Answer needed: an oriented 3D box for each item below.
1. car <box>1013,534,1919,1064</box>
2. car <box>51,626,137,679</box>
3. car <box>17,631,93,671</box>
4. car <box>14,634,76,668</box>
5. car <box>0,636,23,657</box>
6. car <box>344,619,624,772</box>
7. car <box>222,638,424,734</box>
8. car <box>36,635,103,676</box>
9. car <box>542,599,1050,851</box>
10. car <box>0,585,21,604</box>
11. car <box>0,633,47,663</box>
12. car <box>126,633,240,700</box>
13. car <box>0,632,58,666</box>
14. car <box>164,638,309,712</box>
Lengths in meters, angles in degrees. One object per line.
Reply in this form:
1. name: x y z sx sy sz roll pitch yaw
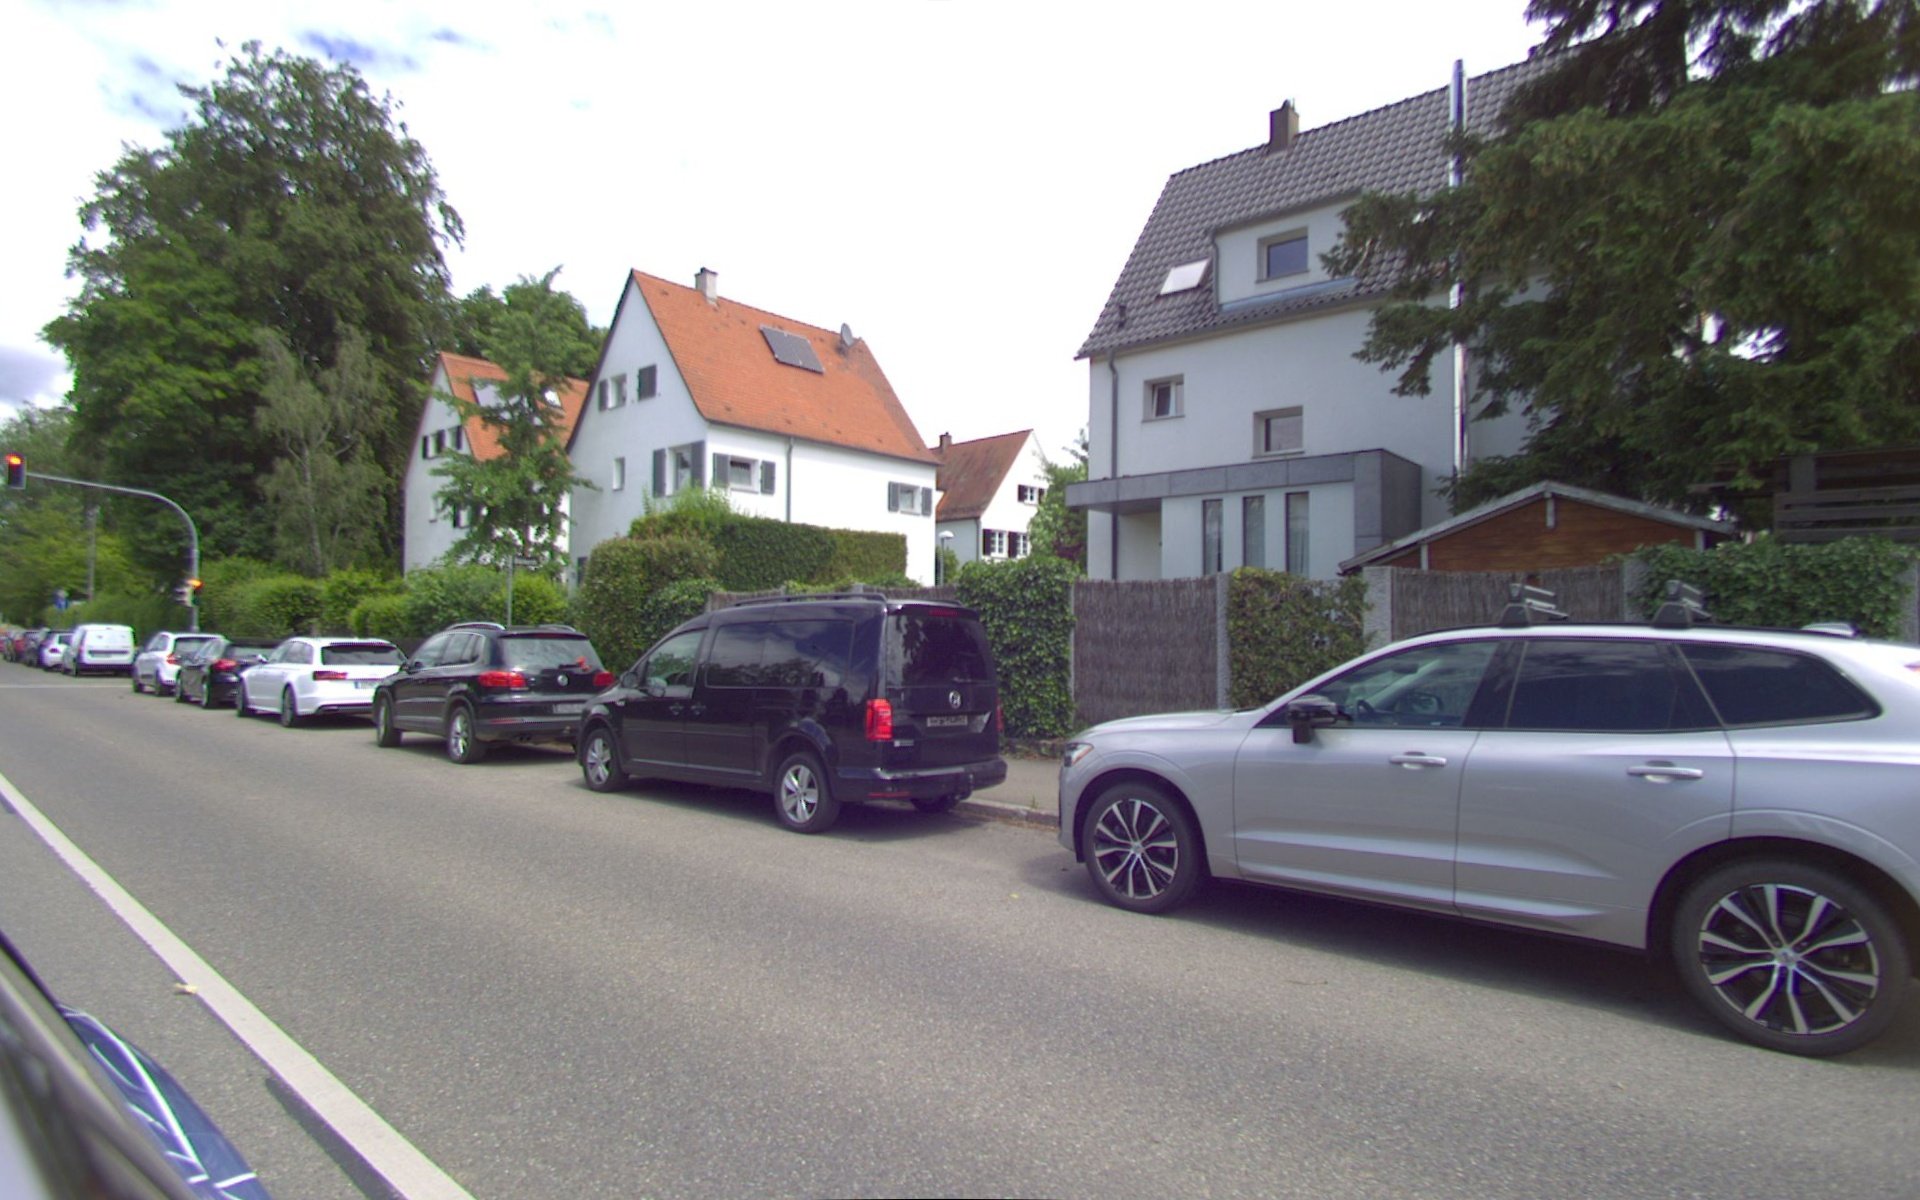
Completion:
1. car: 2.728 0.754 5.366 4.705 1.833 1.964 -2 -3 41
2. car: -30.640 1.853 35.766 4.606 1.772 1.658 -2 -4 42
3. car: -38.704 2.149 43.245 4.642 1.606 1.876 -2 -3 42
4. car: -42.328 2.331 46.795 4.236 1.470 1.714 -2 -3 42
5. car: -65.591 3.171 69.217 4.067 1.413 1.944 -2 -3 44
6. car: -6.386 1.159 13.328 4.582 1.691 1.609 -2 -5 42
7. car: -11.353 1.424 17.864 5.069 1.470 1.785 -2 -4 44
8. car: -34.478 2.120 39.130 1.684 1.464 4.361 6 -5 -43
9. car: -1.743 0.920 9.489 4.880 1.768 2.046 -1 -1 41
10. car: -78.735 -0.455 83.510 1.652 1.381 3.611 4 -4 -41
11. car: -50.618 2.587 54.531 4.328 1.546 1.737 -2 -4 44
12. car: -19.507 1.624 25.359 3.743 1.555 1.683 -2 -4 44
13. car: -46.380 2.398 50.257 4.414 1.623 1.771 -2 -3 41
14. car: -15.537 1.544 21.650 4.324 1.421 1.723 -2 -4 44
